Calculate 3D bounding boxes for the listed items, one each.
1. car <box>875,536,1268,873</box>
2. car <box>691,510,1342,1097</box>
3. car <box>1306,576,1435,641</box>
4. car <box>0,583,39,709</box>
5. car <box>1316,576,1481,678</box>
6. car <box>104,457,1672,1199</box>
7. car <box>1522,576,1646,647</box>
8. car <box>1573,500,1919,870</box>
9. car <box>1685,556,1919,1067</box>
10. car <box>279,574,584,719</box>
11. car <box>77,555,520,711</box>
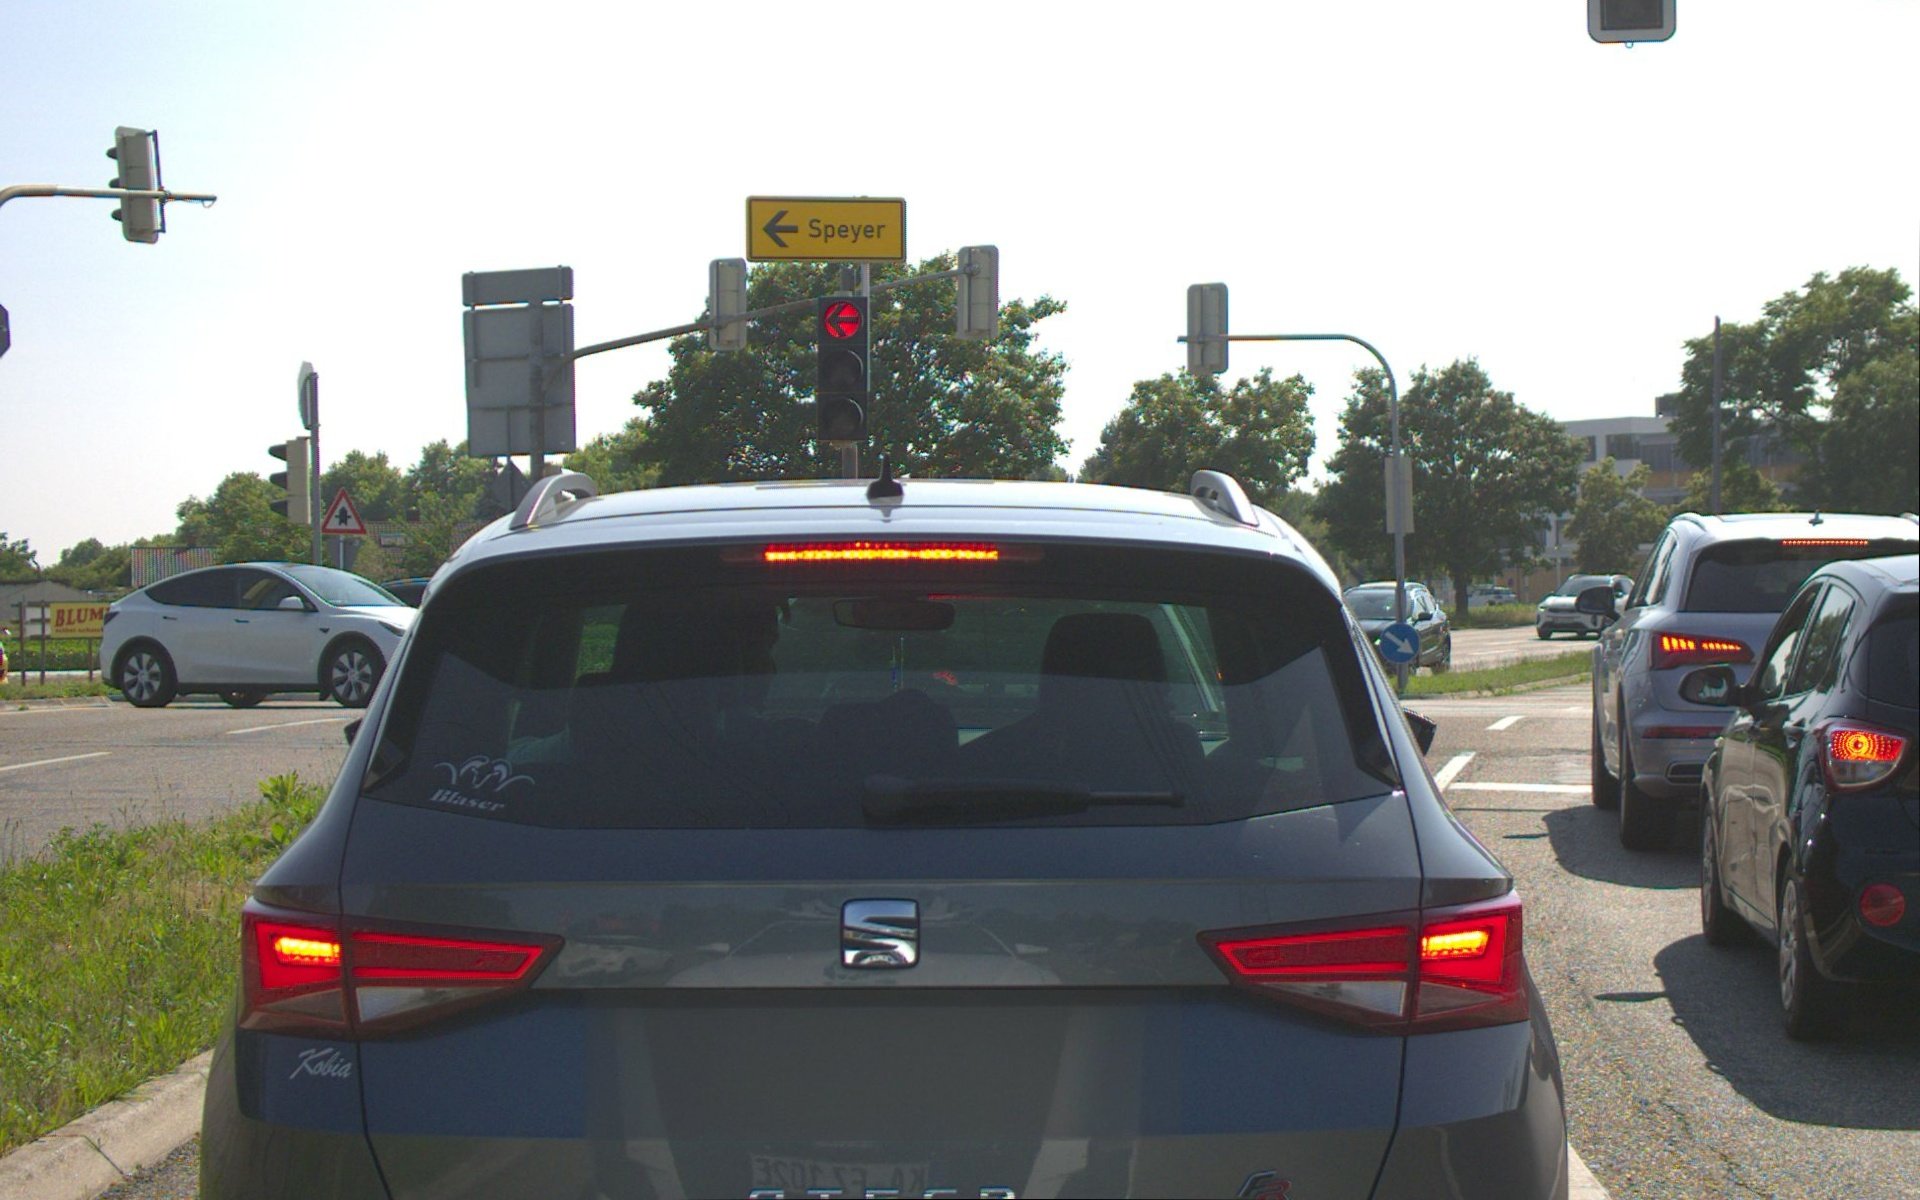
[{"bbox_3d":[0.648,0.454,17.271,1.742,1.479,3.623,1,0,5],"label":"car"},{"bbox_3d":[0.164,0.538,11.150,1.742,1.563,3.624,1,0,0],"label":"car"},{"bbox_3d":[9.839,0.203,82.198,1.721,1.492,3.764,1,1,30],"label":"car"},{"bbox_3d":[-14.364,0.616,45.561,3.993,1.645,1.817,0,0,28],"label":"car"},{"bbox_3d":[7.618,0.447,59.464,1.879,1.667,3.765,1,1,22],"label":"car"},{"bbox_3d":[-0.106,0.622,5.664,1.742,1.563,3.624,1,0,-1],"label":"car"},{"bbox_3d":[15.307,0.265,84.252,1.880,1.667,3.764,1,1,28],"label":"car"},{"bbox_3d":[4.095,0.368,17.567,1.633,1.671,3.749,1,1,6],"label":"car"},{"bbox_3d":[3.394,0.586,11.339,1.633,1.443,3.294,1,1,6],"label":"car"},{"bbox_3d":[-7.372,0.625,47.896,4.014,1.946,1.693,0,0,30],"label":"car"},{"bbox_3d":[-7.408,0.354,38.421,4.753,1.645,1.817,0,1,28],"label":"car"}]
